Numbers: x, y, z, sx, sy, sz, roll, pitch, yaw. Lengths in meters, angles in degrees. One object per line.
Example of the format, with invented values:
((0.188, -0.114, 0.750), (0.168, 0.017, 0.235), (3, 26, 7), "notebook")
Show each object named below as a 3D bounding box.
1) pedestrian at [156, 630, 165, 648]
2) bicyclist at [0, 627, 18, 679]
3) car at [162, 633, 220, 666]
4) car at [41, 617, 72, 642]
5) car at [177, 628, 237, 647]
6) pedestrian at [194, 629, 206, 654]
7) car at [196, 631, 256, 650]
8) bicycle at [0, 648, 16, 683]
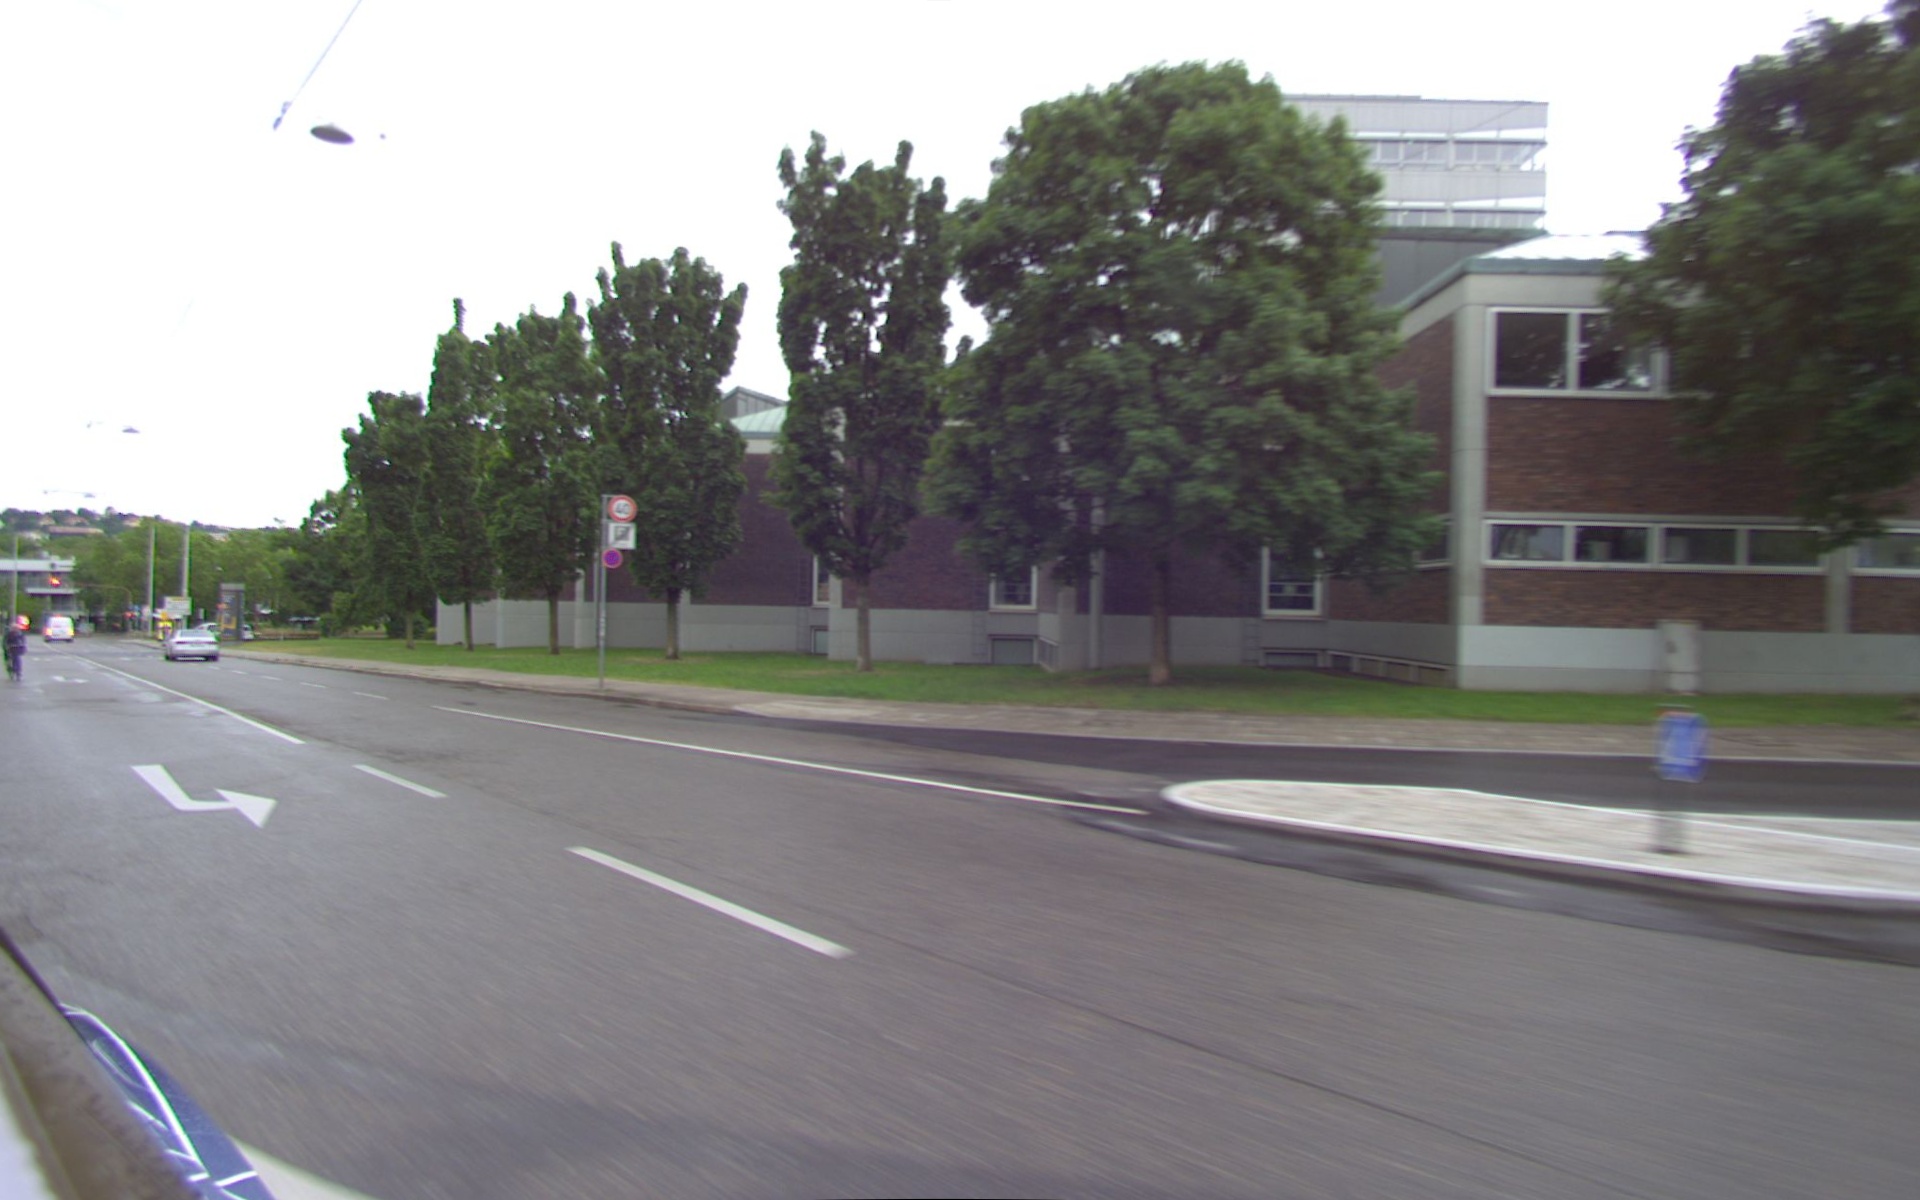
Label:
((-78.318, 3.800, 99.147), (0.642, 1.708, 0.621), (-1, -1, 38), "pedestrian")
((-26.908, 1.488, 28.548), (0.478, 1.444, 0.931), (0, -1, -42), "bicyclist")
((-37.803, 2.418, 49.722), (1.858, 1.502, 5.227), (4, -4, -41), "car")
((-94.689, 3.123, 106.036), (5.633, 2.548, 1.960), (-2, -3, 44), "car")
((-77.379, 3.840, 104.008), (4.655, 1.768, 2.017), (-1, 0, -2), "car")
((-53.358, 2.915, 71.051), (0.661, 1.699, 0.915), (0, -1, -37), "pedestrian")
((-66.236, 3.633, 91.338), (4.480, 1.622, 1.861), (-1, 0, 13), "car")
((-27.011, 1.841, 28.598), (0.442, 0.970, 1.692), (1, -2, -41), "bicycle")
